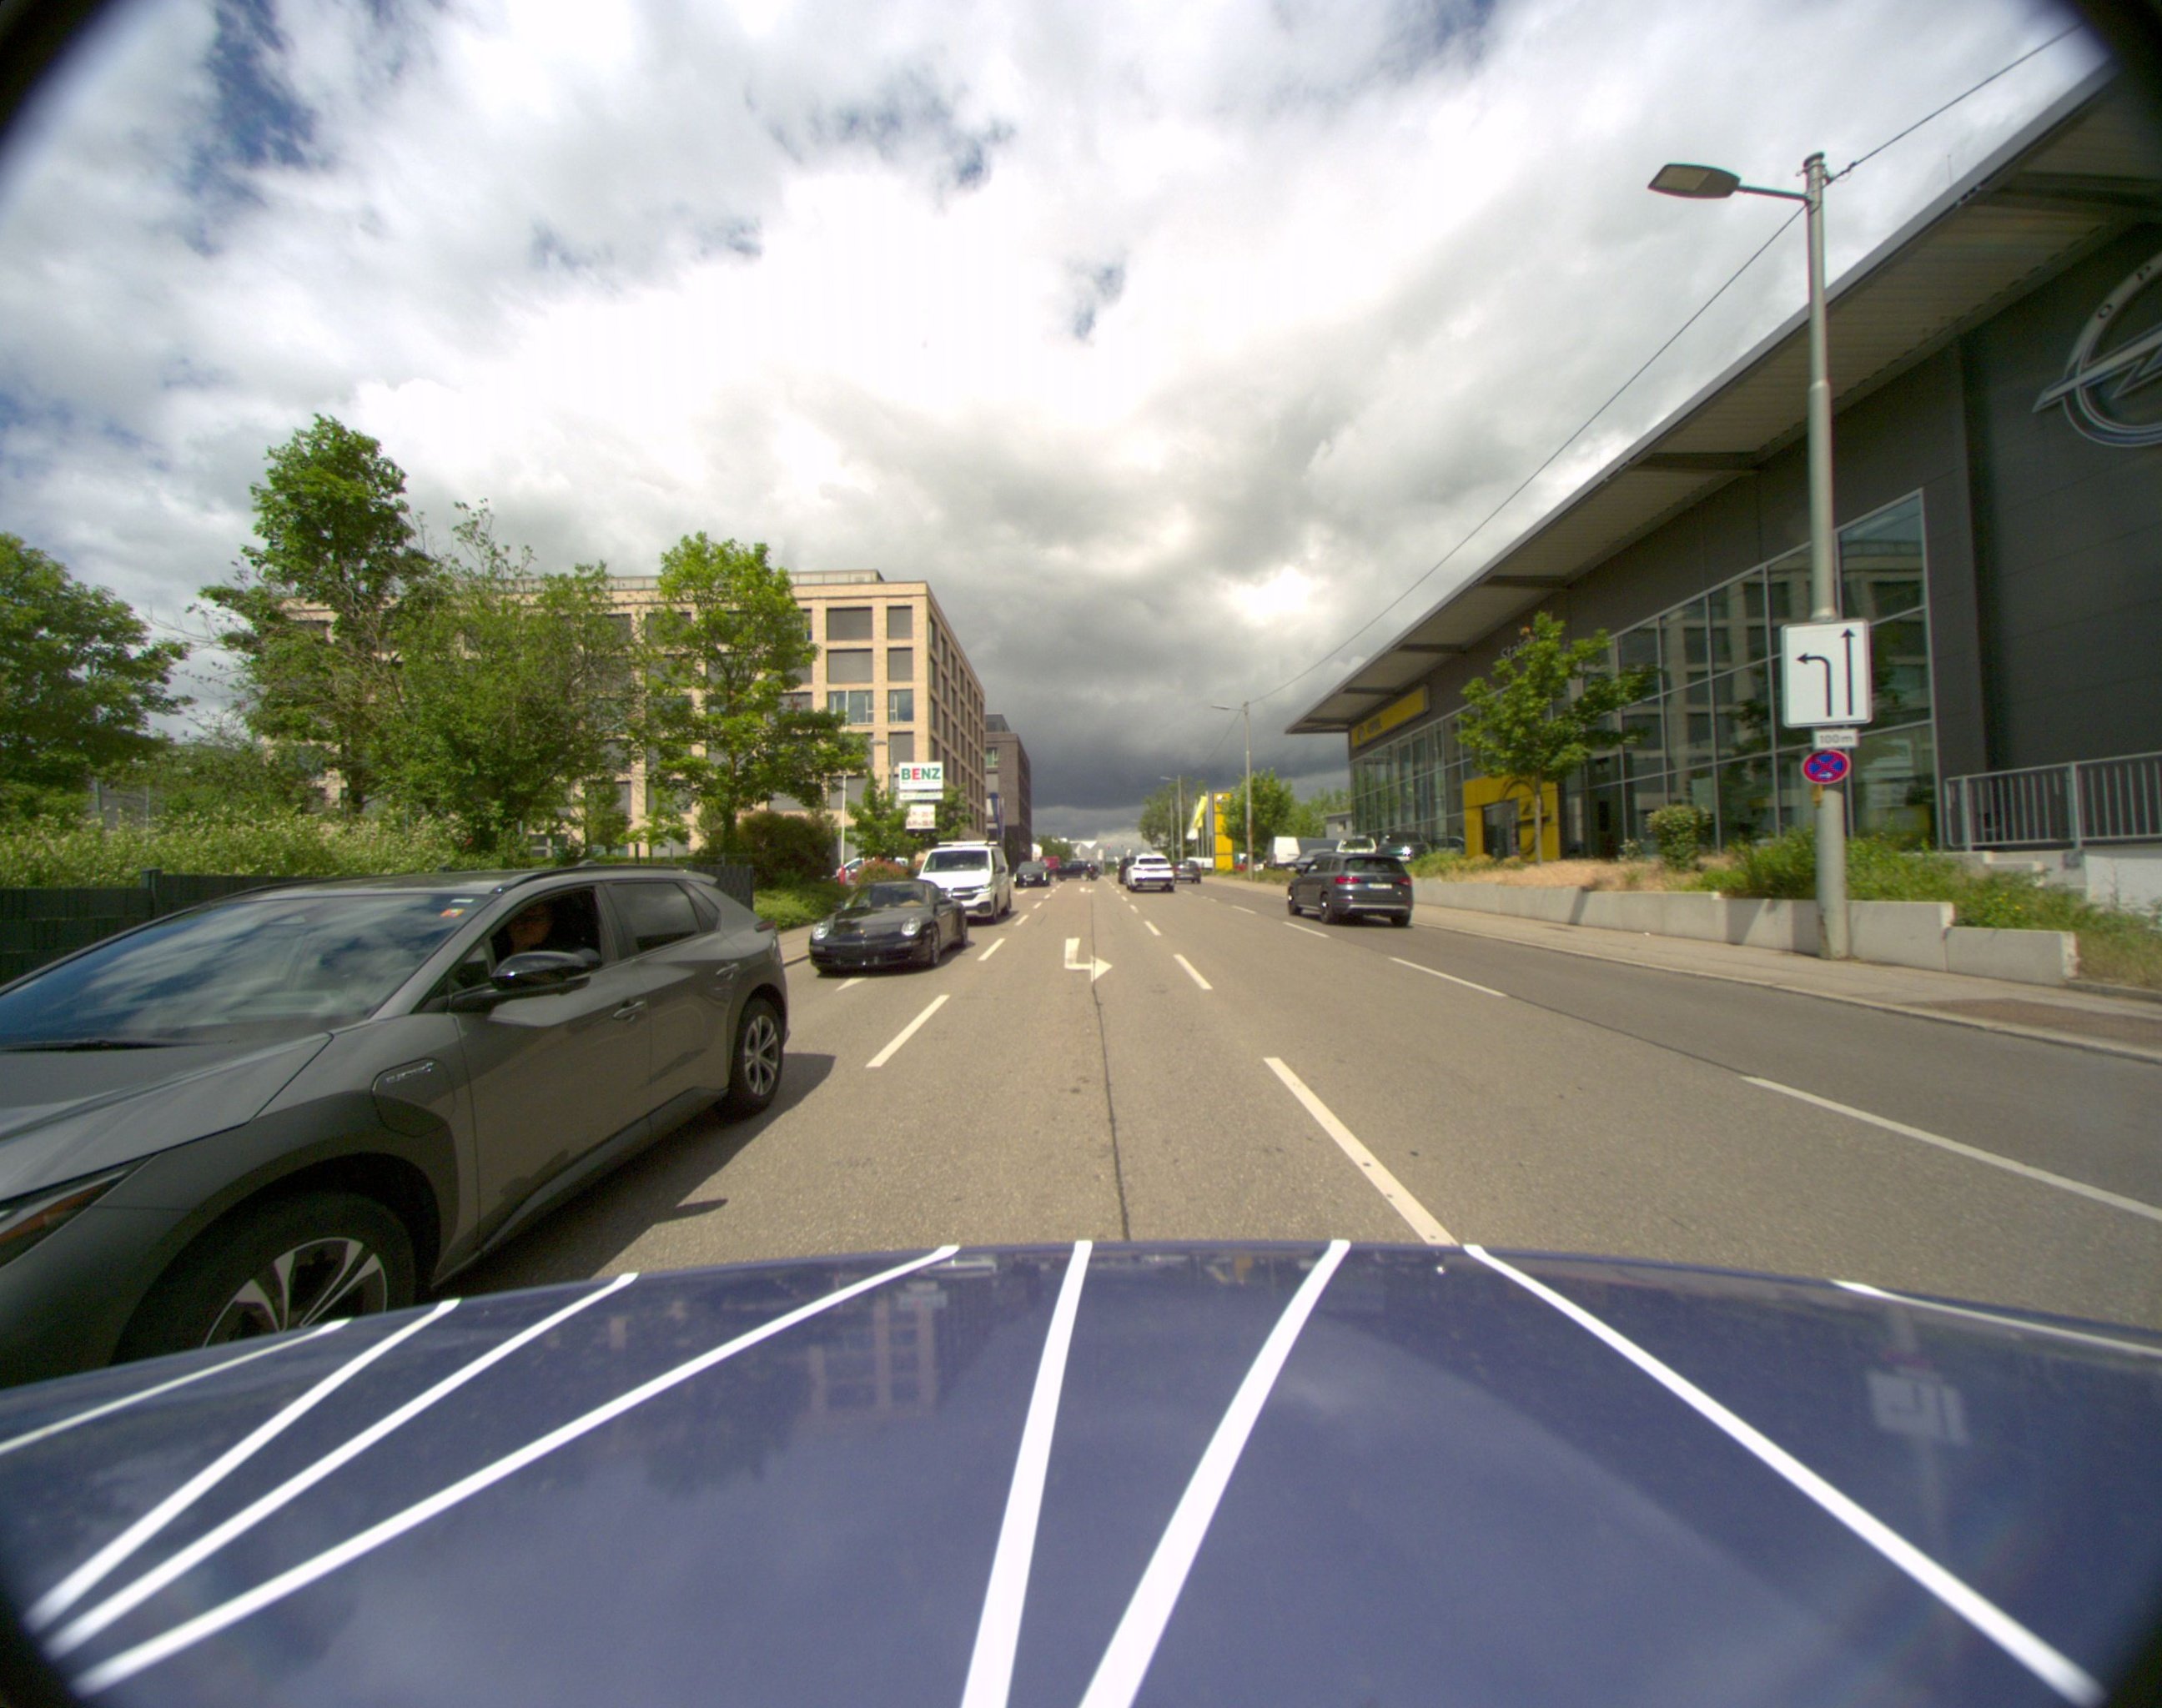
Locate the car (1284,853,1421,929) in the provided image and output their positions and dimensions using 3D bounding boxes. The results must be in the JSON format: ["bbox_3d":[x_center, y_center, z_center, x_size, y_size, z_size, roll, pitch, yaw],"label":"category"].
[{"bbox_3d":[6.079,0.765,17.504,1.763,1.513,3.957,-1,0,0],"label":"car"}]

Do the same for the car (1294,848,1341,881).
[{"bbox_3d":[12.202,0.504,39.075,1.794,1.604,4.116,-1,0,24],"label":"car"}]

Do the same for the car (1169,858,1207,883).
[{"bbox_3d":[6.447,0.991,46.171,1.763,1.405,3.734,1,0,1],"label":"car"}]

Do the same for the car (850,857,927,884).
[{"bbox_3d":[-11.481,0.968,45.557,4.220,1.567,1.735,-1,0,-4],"label":"car"}]

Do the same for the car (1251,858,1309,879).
[{"bbox_3d":[14.957,1.088,57.254,3.946,1.518,1.561,-1,0,-2],"label":"car"}]

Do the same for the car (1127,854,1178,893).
[{"bbox_3d":[3.141,0.839,34.173,1.924,1.604,4.416,-1,0,1],"label":"car"}]

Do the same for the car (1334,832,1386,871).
[{"bbox_3d":[12.426,-0.118,33.717,1.793,1.604,4.115,-1,0,25],"label":"car"}]

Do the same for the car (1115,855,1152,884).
[{"bbox_3d":[3.064,0.884,45.139,1.797,1.604,4.108,-1,0,-1],"label":"car"}]

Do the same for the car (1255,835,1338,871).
[{"bbox_3d":[13.506,-0.065,47.796,4.531,2.182,2.179,-1,1,-1],"label":"car"}]

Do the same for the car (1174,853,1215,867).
[{"bbox_3d":[12.562,0.641,84.388,4.252,1.473,2.095,-1,0,-2],"label":"car"}]

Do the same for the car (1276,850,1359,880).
[{"bbox_3d":[13.331,0.627,43.005,4.108,1.604,1.797,-1,0,-8],"label":"car"}]

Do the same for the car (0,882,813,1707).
[{"bbox_3d":[-2.971,1.044,3.179,1.924,1.604,4.683,-3,0,1],"label":"car"}]

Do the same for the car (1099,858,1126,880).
[{"bbox_3d":[2.237,1.050,54.595,1.731,1.494,3.438,-1,0,-1],"label":"car"}]

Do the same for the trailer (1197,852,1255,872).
[{"bbox_3d":[13.049,0.685,68.665,4.835,1.742,2.095,-1,0,-3],"label":"trailer"}]

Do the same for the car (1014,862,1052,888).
[{"bbox_3d":[-2.752,1.202,44.510,1.777,1.267,4.568,-2,1,2],"label":"car"}]

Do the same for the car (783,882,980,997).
[{"bbox_3d":[-2.914,1.201,12.213,1.777,1.267,4.569,-3,0,2],"label":"car"}]

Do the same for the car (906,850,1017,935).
[{"bbox_3d":[-2.905,0.879,19.523,1.964,1.840,4.645,-3,0,1],"label":"car"}]

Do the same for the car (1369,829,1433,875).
[{"bbox_3d":[12.207,-0.055,28.832,1.817,1.604,4.117,-1,0,29],"label":"car"}]

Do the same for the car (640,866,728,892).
[{"bbox_3d":[-23.382,1.466,44.864,4.219,1.410,1.735,-1,0,-1],"label":"car"}]

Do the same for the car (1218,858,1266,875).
[{"bbox_3d":[13.701,1.054,64.788,3.669,1.401,1.815,-1,0,2],"label":"car"}]
